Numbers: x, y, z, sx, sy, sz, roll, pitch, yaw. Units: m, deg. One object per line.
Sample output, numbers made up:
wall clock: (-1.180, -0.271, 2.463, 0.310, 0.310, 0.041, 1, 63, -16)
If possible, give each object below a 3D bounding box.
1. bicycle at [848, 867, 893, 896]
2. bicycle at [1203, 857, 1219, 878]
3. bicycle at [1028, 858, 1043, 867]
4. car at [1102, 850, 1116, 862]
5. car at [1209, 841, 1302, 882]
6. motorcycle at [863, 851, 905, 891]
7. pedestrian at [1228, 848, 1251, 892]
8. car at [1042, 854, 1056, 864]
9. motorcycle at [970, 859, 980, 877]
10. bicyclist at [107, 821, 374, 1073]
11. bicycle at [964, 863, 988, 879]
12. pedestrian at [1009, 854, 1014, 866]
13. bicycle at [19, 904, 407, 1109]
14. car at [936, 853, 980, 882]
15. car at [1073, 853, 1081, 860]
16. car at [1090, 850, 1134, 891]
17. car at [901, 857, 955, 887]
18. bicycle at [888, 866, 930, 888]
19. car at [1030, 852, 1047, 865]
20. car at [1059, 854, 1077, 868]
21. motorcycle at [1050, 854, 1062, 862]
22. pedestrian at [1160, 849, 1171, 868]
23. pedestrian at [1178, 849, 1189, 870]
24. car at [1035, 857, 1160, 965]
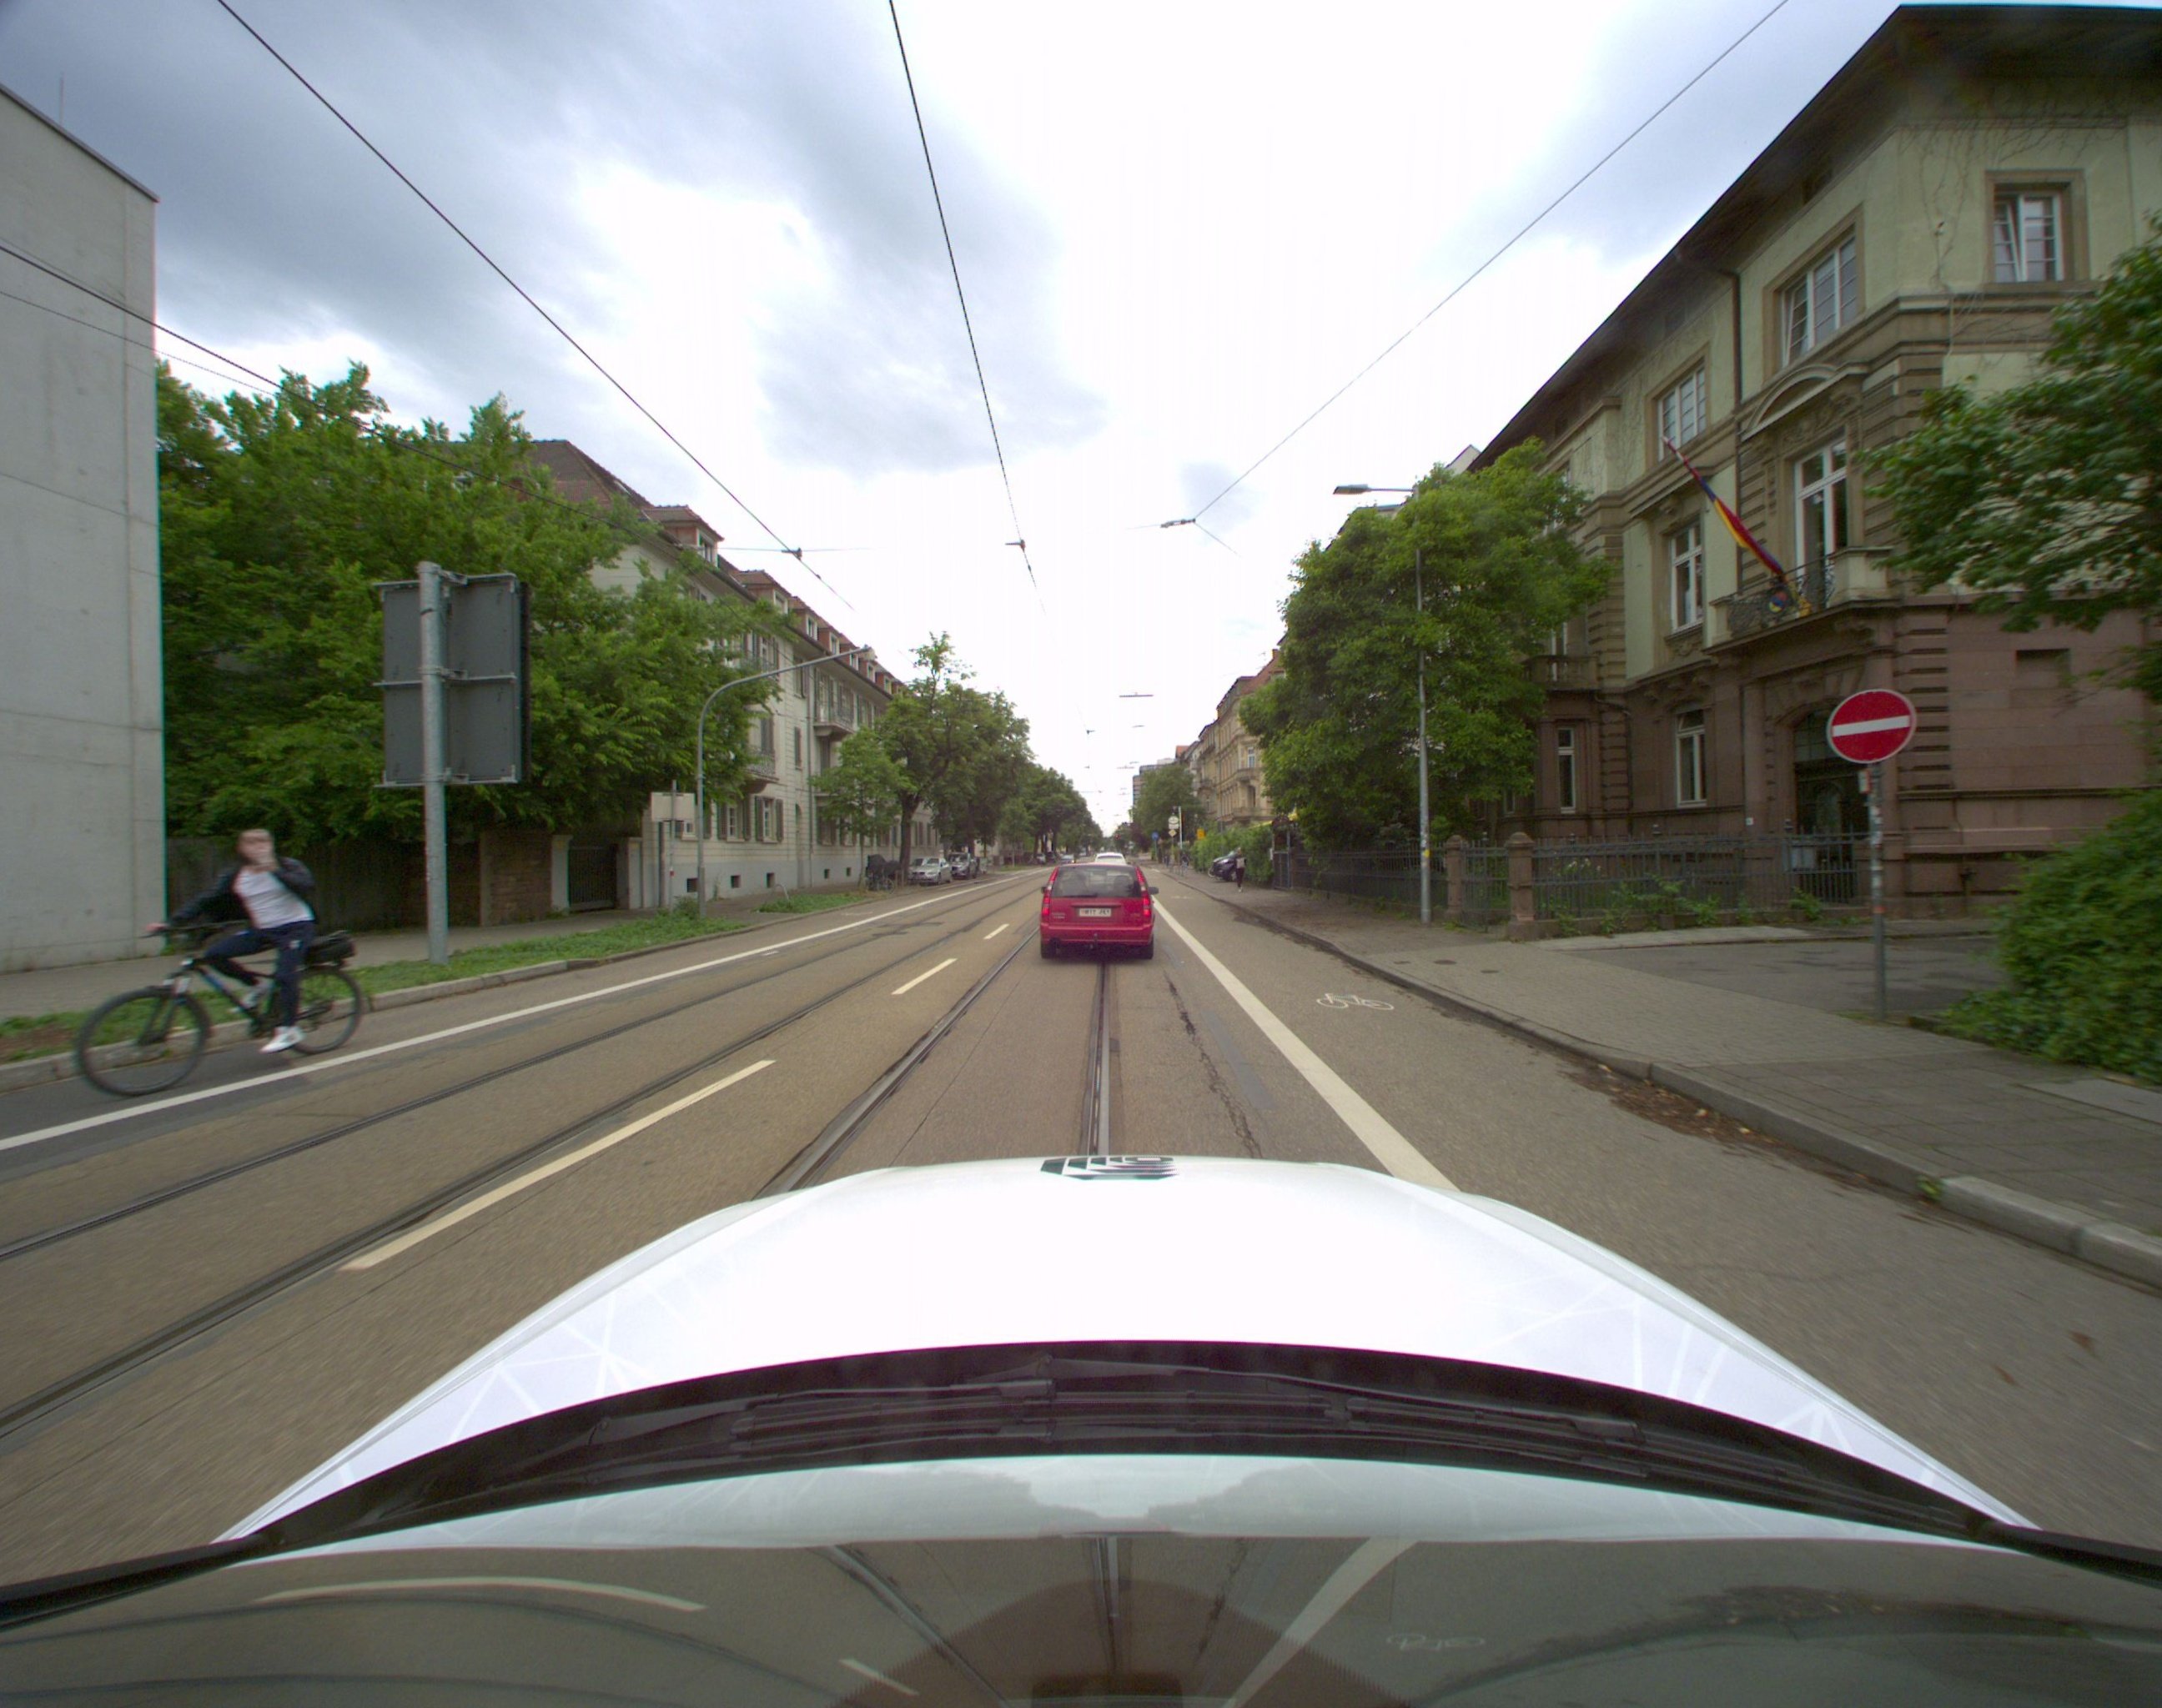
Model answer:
bicycle: (-8.604, 1.122, 33.238, 1.727, 1.129, 0.520, -2, 0, 19)
bicycle: (7.548, 0.751, 47.352, 0.630, 1.127, 1.813, -3, 1, 1)
bicycle: (-5.871, 1.114, 105.347, 1.915, 1.121, 0.624, 0, 0, 1)
car: (3.716, 0.264, 109.181, 1.736, 1.606, 3.999, -1, 0, 0)
car: (8.719, 0.376, 40.981, 4.262, 1.809, 1.825, -3, 0, 3)
motorcycle: (-8.517, 0.723, 35.350, 0.827, 1.643, 2.487, -1, 0, 10)
pedestrian: (6.285, 0.624, 32.293, 0.621, 1.671, 0.960, -4, 0, 1)
car: (-4.969, 0.764, 127.916, 1.770, 1.511, 4.240, -1, 0, 3)
motorcycle: (-7.592, 0.987, 58.416, 0.539, 1.257, 2.139, -1, 0, -4)
bicyclist: (-6.648, 0.680, 6.530, 0.788, 1.783, 1.148, -5, 0, 2)
bicycle: (-7.096, 1.163, 54.992, 1.369, 1.005, 0.931, 2, 0, 6)
pedestrian: (-8.649, 0.803, 101.616, 0.562, 1.467, 0.723, -2, 0, 2)
bicycle: (-6.629, 1.078, 6.441, 0.788, 1.186, 2.012, -4, 0, 2)
car: (-7.601, 0.819, 50.656, 1.830, 1.661, 4.297, 1, 0, 3)
car: (-0.935, 0.614, 195.411, 1.844, 1.563, 3.945, -1, 0, 2)
car: (1.383, 0.655, 34.883, 1.711, 1.625, 3.945, -1, 0, 4)
car: (-7.886, 0.895, 42.374, 1.805, 1.466, 4.615, -1, 0, 1)
bicycle: (-8.187, 1.100, 38.892, 1.890, 1.027, 0.563, 0, 0, -3)
car: (-5.672, 0.576, 109.171, 1.890, 1.655, 4.226, -1, 0, 1)
car: (-1.393, 0.699, 87.553, 1.722, 1.408, 3.657, -1, 0, 2)
motorcycle: (-4.637, 0.716, 150.200, 2.243, 1.511, 0.932, -2, -2, 37)
pedestrian: (7.581, 0.435, 73.013, 0.866, 1.656, 0.912, -1, 0, 14)
pedestrian: (8.286, 0.445, 65.884, 0.790, 1.636, 0.836, -3, -1, 2)
car: (0.312, 0.781, 12.947, 1.682, 1.441, 3.745, 0, 0, 3)
